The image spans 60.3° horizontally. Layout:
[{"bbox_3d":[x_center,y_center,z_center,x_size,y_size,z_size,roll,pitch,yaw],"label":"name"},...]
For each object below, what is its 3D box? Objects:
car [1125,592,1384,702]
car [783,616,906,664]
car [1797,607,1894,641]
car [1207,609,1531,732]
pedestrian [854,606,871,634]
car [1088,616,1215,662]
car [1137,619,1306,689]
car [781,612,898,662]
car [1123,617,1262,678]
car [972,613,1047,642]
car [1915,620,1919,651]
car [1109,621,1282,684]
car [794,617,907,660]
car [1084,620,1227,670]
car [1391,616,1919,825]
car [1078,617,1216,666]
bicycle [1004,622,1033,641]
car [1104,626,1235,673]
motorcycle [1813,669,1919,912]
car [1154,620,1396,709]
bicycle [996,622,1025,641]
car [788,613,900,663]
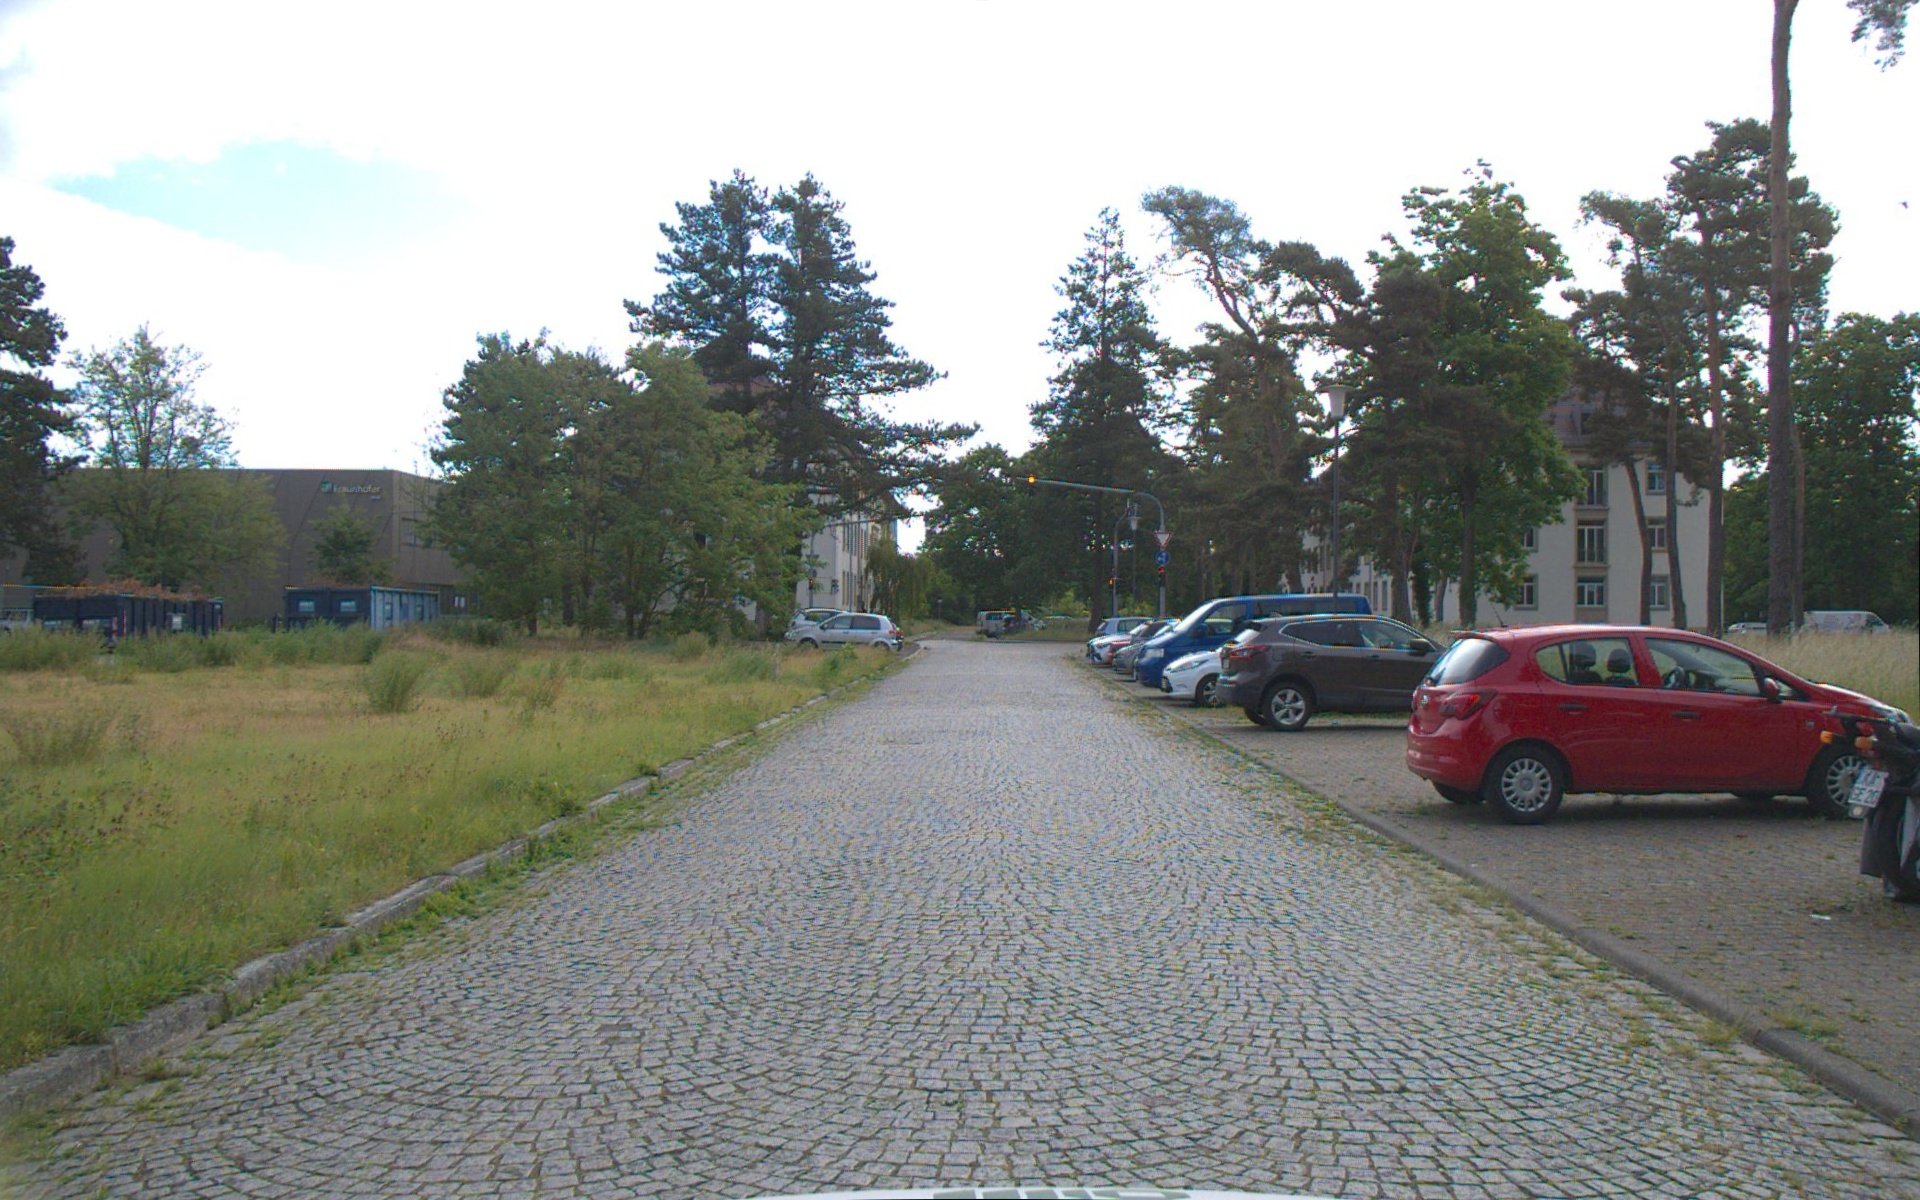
[{"bbox_3d":[5.721,0.902,32.537,4.698,2.039,1.966,-1,-1,-1],"label":"car"},{"bbox_3d":[-4.048,1.394,58.066,4.214,1.581,1.810,-1,-1,-5],"label":"car"},{"bbox_3d":[58.142,1.603,108.641,5.190,2.055,2.106,2,-1,2],"label":"car"},{"bbox_3d":[5.751,0.974,23.632,4.118,1.623,1.952,-1,-1,-1],"label":"car"},{"bbox_3d":[-7.131,1.450,121.081,1.052,1.993,1.121,1,-1,1],"label":"pedestrian"},{"bbox_3d":[6.494,1.307,56.258,4.054,1.489,1.632,-1,-1,-4],"label":"car"},{"bbox_3d":[5.938,1.211,37.840,3.578,1.505,1.766,-1,-1,1],"label":"car"},{"bbox_3d":[-4.426,1.350,60.877,4.213,1.763,1.651,-1,-1,-4],"label":"car"},{"bbox_3d":[6.098,1.233,43.611,3.433,1.513,1.743,-1,-1,0],"label":"car"},{"bbox_3d":[3.665,2.074,123.223,5.280,2.138,2.172,0,-1,-11],"label":"car"},{"bbox_3d":[59.098,2.175,97.884,4.047,1.835,1.900,2,-1,3],"label":"car"},{"bbox_3d":[5.754,1.275,40.747,4.045,1.472,1.766,-1,-1,1],"label":"car"},{"bbox_3d":[-4.200,1.466,63.327,4.214,1.581,1.810,-1,-1,-5],"label":"car"},{"bbox_3d":[5.991,1.364,50.942,4.105,1.462,1.753,-1,-1,-6],"label":"car"},{"bbox_3d":[5.635,0.912,13.327,3.843,1.523,1.784,-1,-1,-1],"label":"car"},{"bbox_3d":[6.055,1.333,53.710,4.151,1.505,1.705,-1,-1,-10],"label":"car"},{"bbox_3d":[3.841,2.090,108.412,1.844,1.191,0.664,2,-1,-5],"label":"bicycle"},{"bbox_3d":[5.823,1.374,46.239,3.512,1.244,1.629,-1,-1,2],"label":"car"},{"bbox_3d":[5.797,0.979,8.828,2.185,1.223,0.568,-1,-1,-1],"label":"motorcycle"},{"bbox_3d":[5.656,1.144,29.989,4.015,1.505,1.721,-1,-1,-2],"label":"car"},{"bbox_3d":[3.404,2.131,111.915,1.844,1.191,0.664,2,-1,-5],"label":"bicycle"},{"bbox_3d":[-3.862,1.277,55.468,3.646,1.507,1.672,2,-1,-2],"label":"car"}]
